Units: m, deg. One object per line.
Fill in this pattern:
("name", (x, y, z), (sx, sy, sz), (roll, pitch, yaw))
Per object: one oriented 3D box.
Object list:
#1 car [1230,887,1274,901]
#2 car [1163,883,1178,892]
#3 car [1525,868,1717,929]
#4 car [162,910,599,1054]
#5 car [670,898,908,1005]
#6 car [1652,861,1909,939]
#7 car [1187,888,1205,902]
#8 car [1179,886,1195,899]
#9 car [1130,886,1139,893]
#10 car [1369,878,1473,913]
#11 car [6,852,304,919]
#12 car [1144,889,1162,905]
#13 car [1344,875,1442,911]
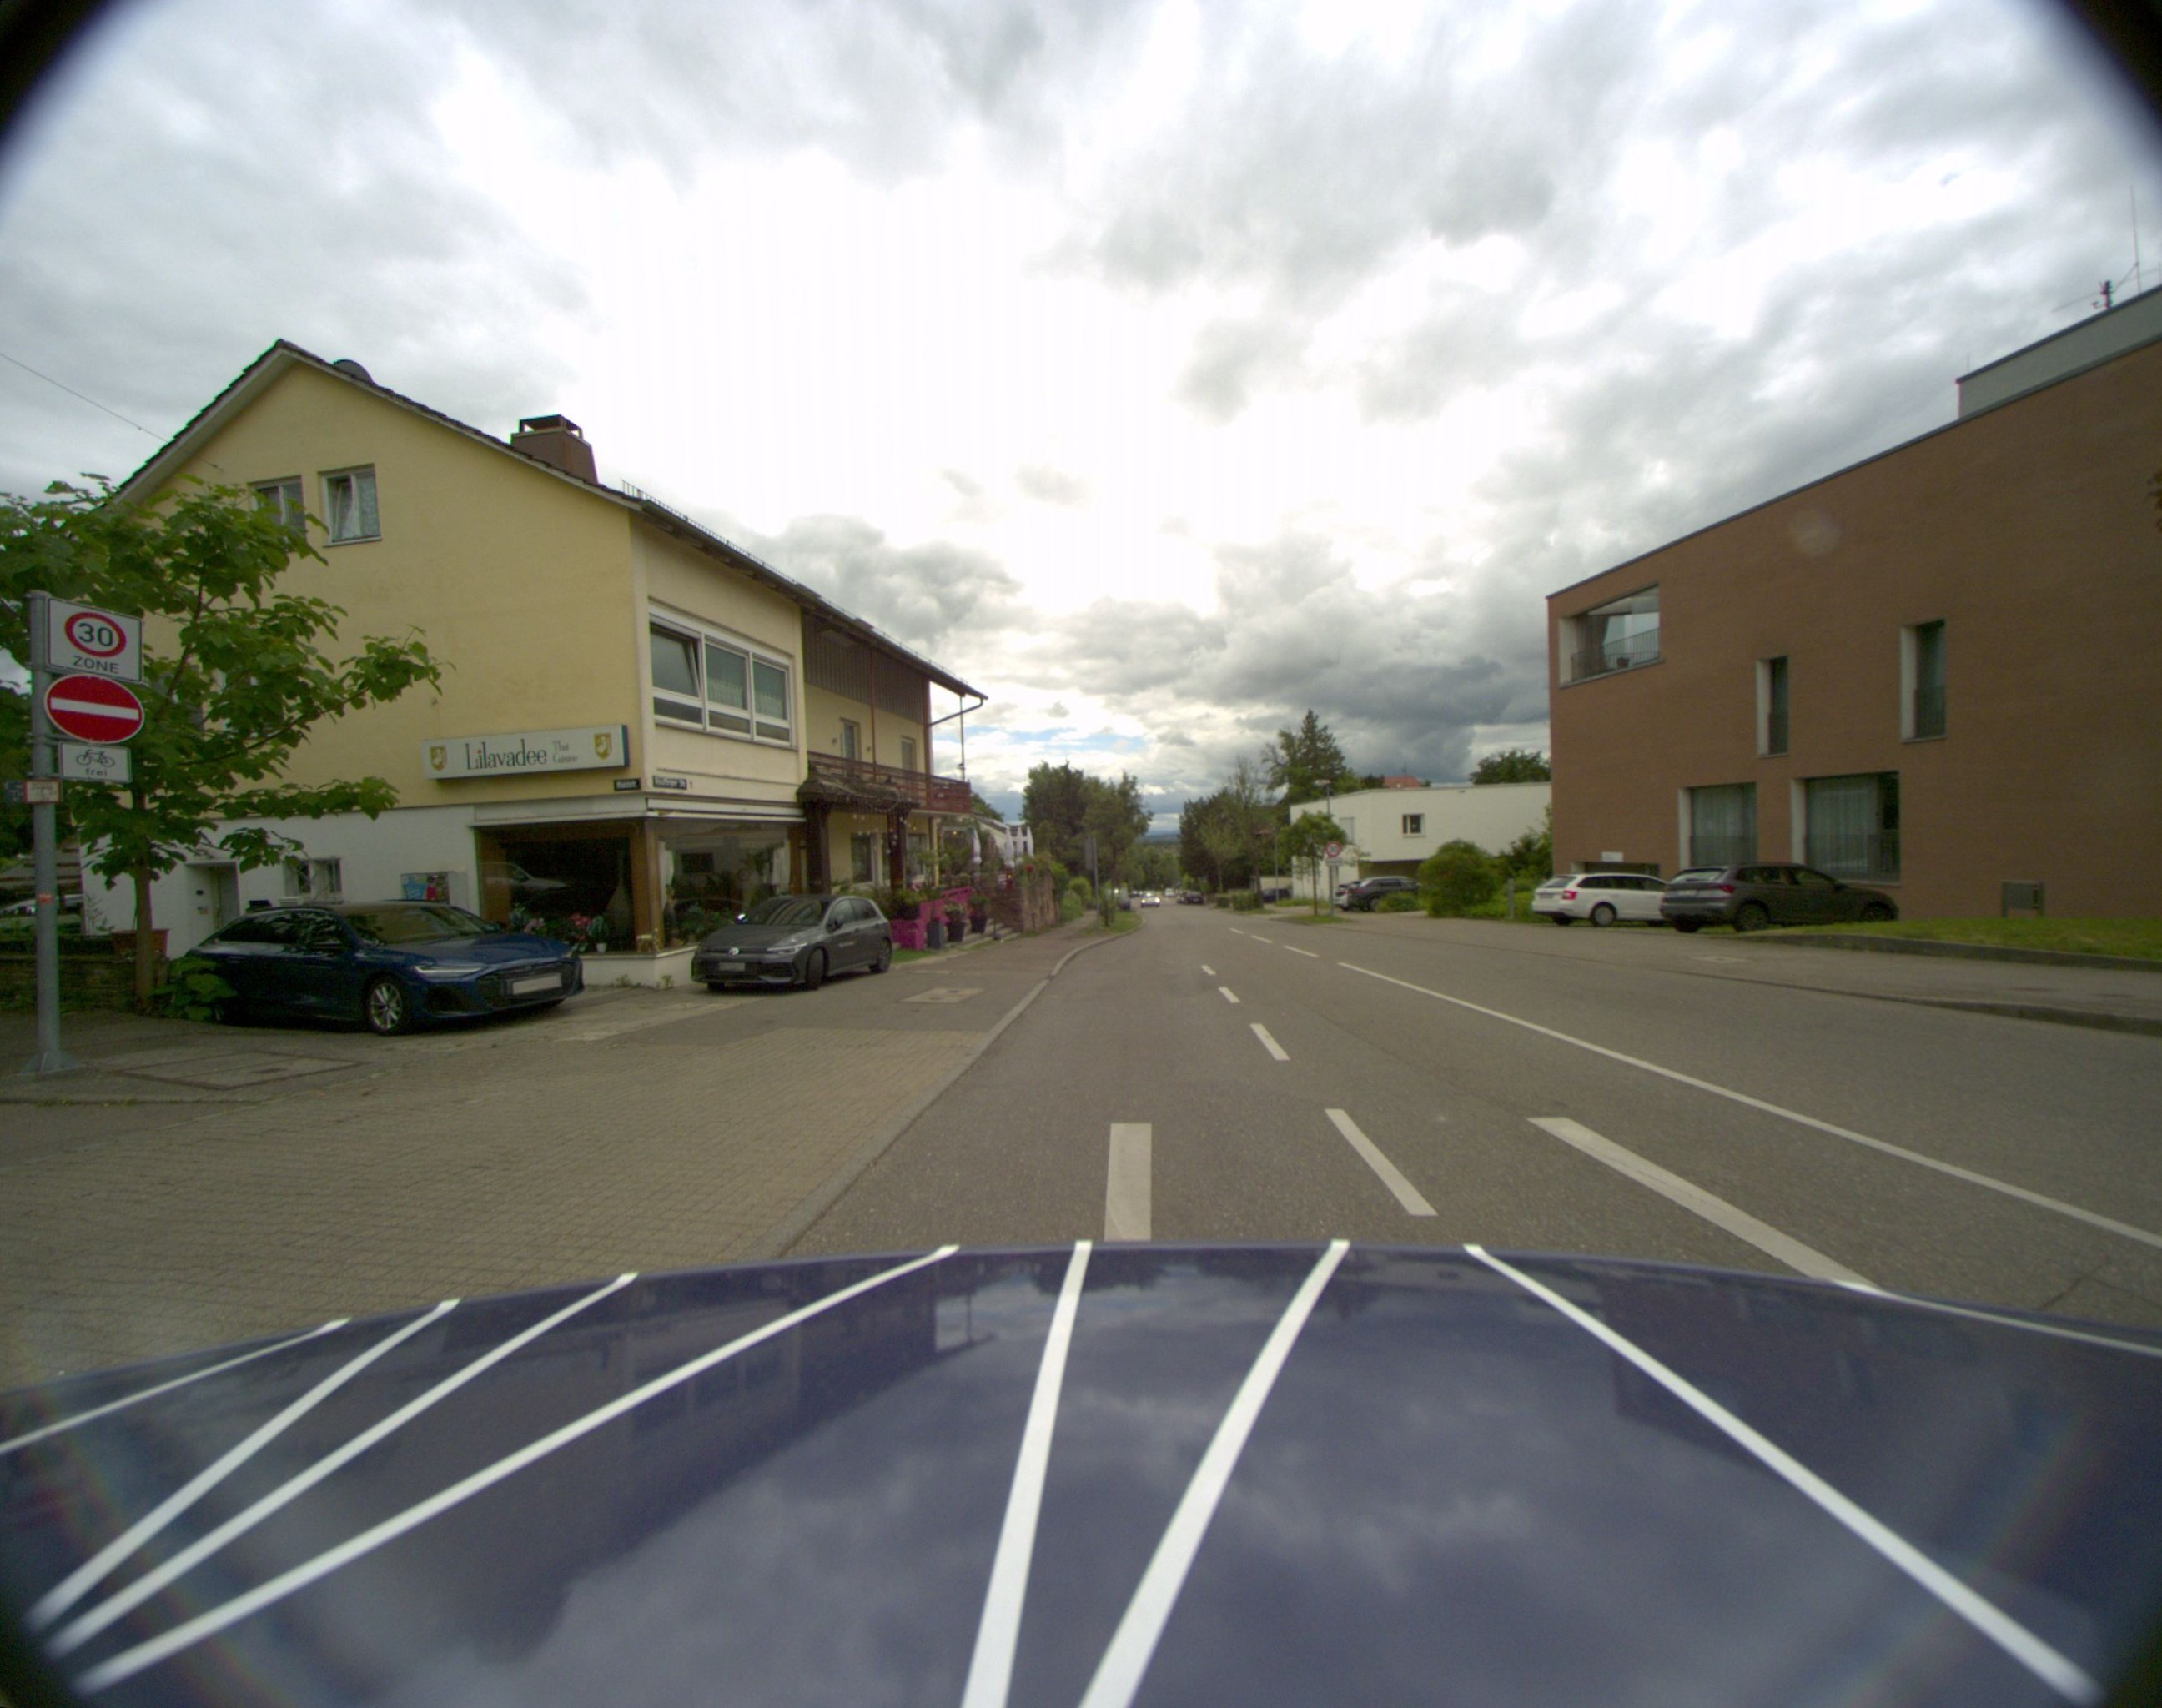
("car", (16.557, 3.889, 73.728), (3.995, 1.278, 1.665), (-2, -3, 7))
("car", (16.222, 6.077, 137.971), (1.884, 1.412, 4.368), (-1, -1, -2))
("car", (14.619, 1.206, 20.713), (3.998, 1.476, 1.727), (-1, -3, -3))
("car", (-8.526, 1.422, 9.289), (4.739, 1.378, 1.802), (-2, -1, 18))
("car", (-4.539, 1.483, 12.627), (1.796, 1.452, 4.332), (-1, -4, 8))
("car", (14.918, 0.976, 16.346), (3.998, 1.476, 1.727), (-1, -3, -3))
("car", (12.191, 4.305, 80.577), (1.661, 1.412, 4.004), (-2, -3, 6))
("car", (12.509, 4.561, 89.575), (1.661, 1.412, 4.372), (-2, -3, 6))
("car", (13.044, 8.594, 184.157), (1.883, 1.412, 4.369), (-1, -1, 1))
("car", (15.607, 1.900, 35.034), (3.996, 1.476, 1.728), (-2, -3, 3))
("car", (-22.777, 0.840, 18.966), (1.795, 1.452, 4.336), (-2, -4, 22))
("car", (7.069, 4.214, 74.383), (1.725, 1.476, 4.004), (-2, -3, 6))
("car", (15.061, 1.898, 36.876), (3.996, 1.585, 1.795), (-2, -3, 3))
